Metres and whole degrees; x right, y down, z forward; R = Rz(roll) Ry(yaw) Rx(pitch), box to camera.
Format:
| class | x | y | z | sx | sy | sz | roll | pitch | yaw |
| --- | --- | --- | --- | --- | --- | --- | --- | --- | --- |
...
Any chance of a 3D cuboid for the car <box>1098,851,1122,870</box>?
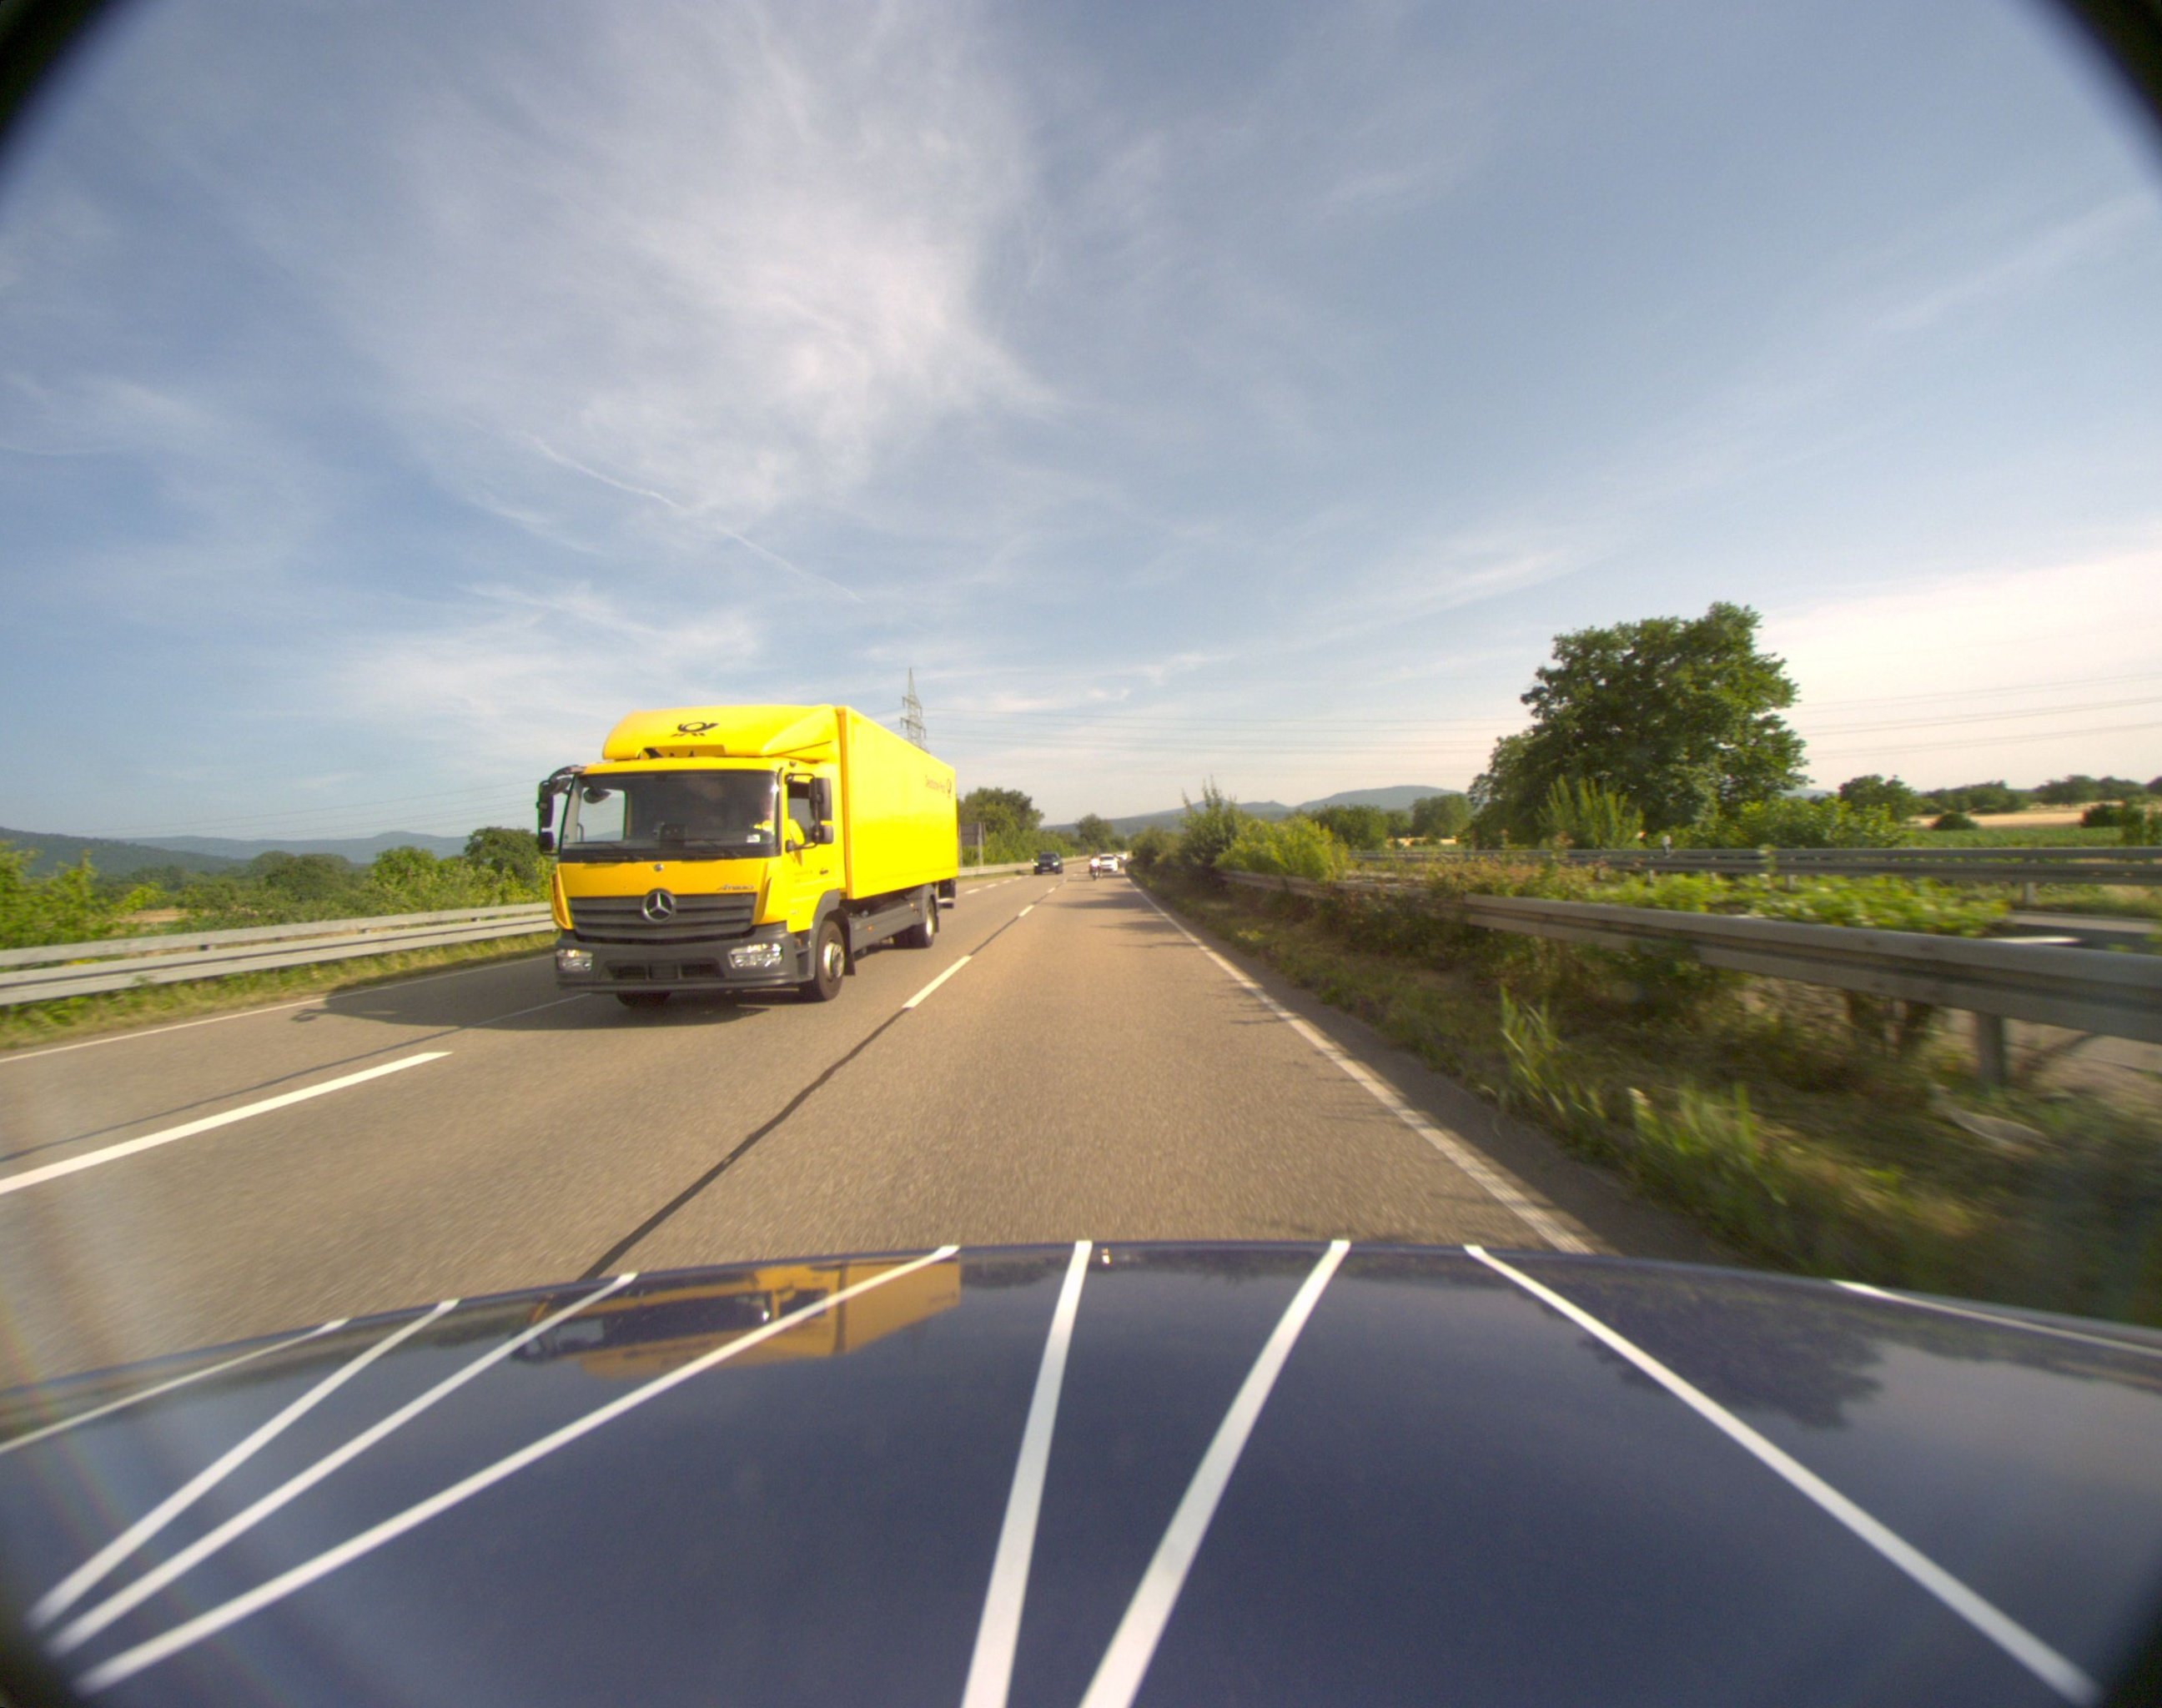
| class | x | y | z | sx | sy | sz | roll | pitch | yaw |
| --- | --- | --- | --- | --- | --- | --- | --- | --- | --- |
| car | 2.406 | 0.533 | 62.547 | 1.869 | 1.454 | 4.084 | -2 | 0 | 4 |

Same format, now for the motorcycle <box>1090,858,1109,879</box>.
| class | x | y | z | sx | sy | sz | roll | pitch | yaw |
| --- | --- | --- | --- | --- | --- | --- | --- | --- | --- |
| motorcycle | 1.097 | 0.839 | 44.278 | 0.937 | 1.132 | 2.583 | -1 | 1 | 5 |

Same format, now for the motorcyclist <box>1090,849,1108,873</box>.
| class | x | y | z | sx | sy | sz | roll | pitch | yaw |
| --- | --- | --- | --- | --- | --- | --- | --- | --- | --- |
| motorcyclist | 1.065 | 0.428 | 44.342 | 0.937 | 1.344 | 1.143 | -1 | 1 | 4 |

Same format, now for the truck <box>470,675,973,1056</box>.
| class | x | y | z | sx | sy | sz | roll | pitch | yaw |
| --- | --- | --- | --- | --- | --- | --- | --- | --- | --- |
| truck | -3.941 | 0.099 | 12.026 | 2.786 | 3.297 | 10.489 | -2 | 0 | 0 |

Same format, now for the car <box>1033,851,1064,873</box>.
| class | x | y | z | sx | sy | sz | roll | pitch | yaw |
| --- | --- | --- | --- | --- | --- | --- | --- | --- | --- |
| car | -2.593 | 0.596 | 60.795 | 1.877 | 1.630 | 4.001 | -2 | 1 | 5 |

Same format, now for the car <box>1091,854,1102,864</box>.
| class | x | y | z | sx | sy | sz | roll | pitch | yaw |
| --- | --- | --- | --- | --- | --- | --- | --- | --- | --- |
| car | 2.543 | 0.819 | 126.971 | 1.677 | 1.541 | 3.826 | -2 | 1 | 1 |
